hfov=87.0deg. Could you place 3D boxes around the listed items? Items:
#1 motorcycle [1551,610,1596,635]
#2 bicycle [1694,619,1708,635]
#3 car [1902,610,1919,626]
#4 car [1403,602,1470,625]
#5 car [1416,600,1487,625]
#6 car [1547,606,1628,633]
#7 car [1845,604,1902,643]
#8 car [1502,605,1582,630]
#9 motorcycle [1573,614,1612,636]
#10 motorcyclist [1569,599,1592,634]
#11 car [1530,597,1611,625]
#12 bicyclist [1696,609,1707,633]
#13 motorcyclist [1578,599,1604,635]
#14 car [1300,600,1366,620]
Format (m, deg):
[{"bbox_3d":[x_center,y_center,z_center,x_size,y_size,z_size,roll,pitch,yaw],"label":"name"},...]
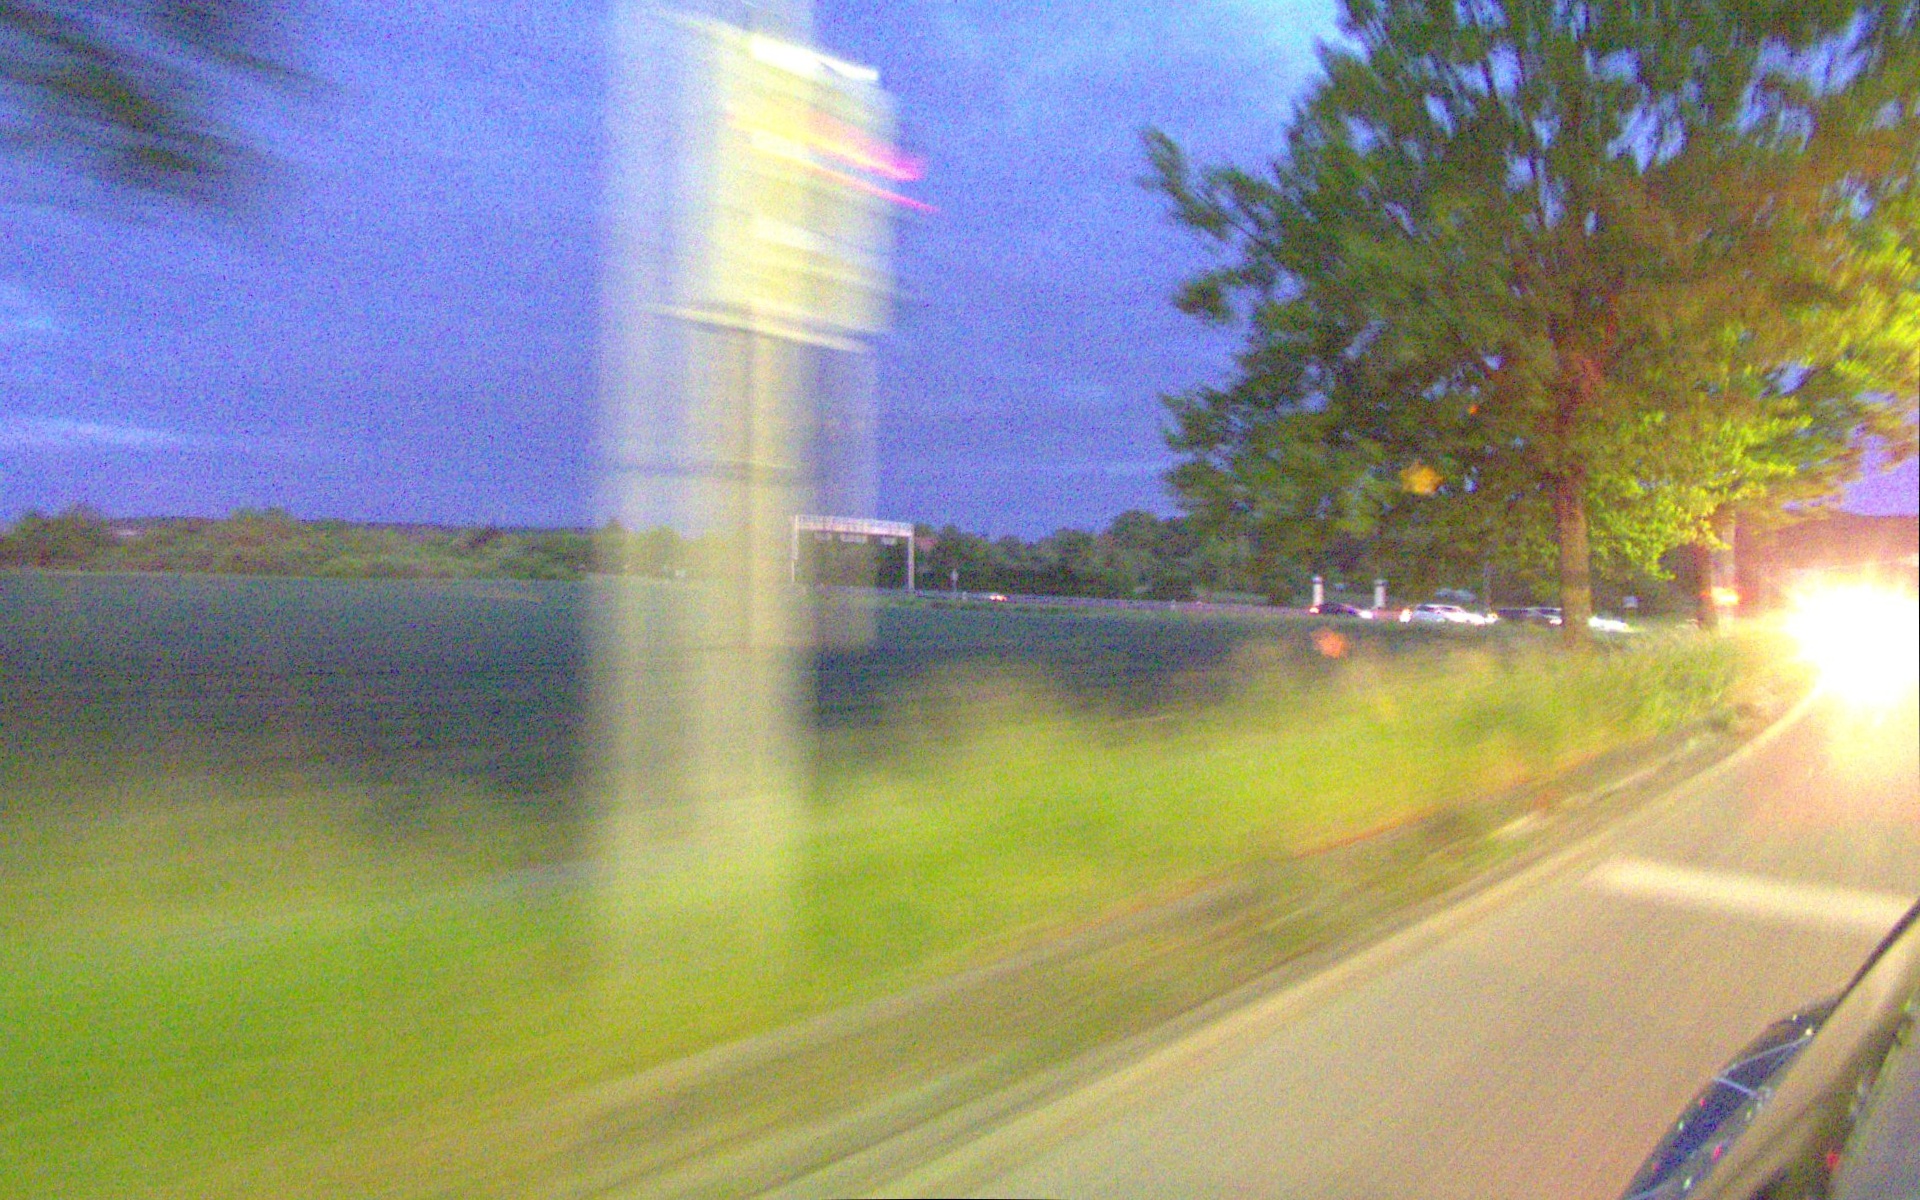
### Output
[{"bbox_3d":[32.638,1.205,53.852,1.792,1.196,0.847,-2,1,11],"label":"motorcycle"},{"bbox_3d":[52.414,1.914,71.587,0.692,1.115,2.037,1,-1,40],"label":"bicycle"},{"bbox_3d":[102.960,1.924,109.170,3.856,1.616,1.696,4,-2,-42],"label":"car"},{"bbox_3d":[34.158,0.964,72.614,1.807,1.544,3.991,2,0,-43],"label":"car"},{"bbox_3d":[36.543,0.940,75.320,1.721,1.647,4.354,3,-1,-43],"label":"car"},{"bbox_3d":[44.491,1.370,71.796,1.826,1.653,4.575,3,-1,-43],"label":"car"},{"bbox_3d":[38.040,0.944,42.206,1.664,1.499,3.721,0,0,40],"label":"car"},{"bbox_3d":[38.867,1.174,67.625,1.755,1.464,4.283,3,-1,-42],"label":"car"},{"bbox_3d":[32.976,1.292,52.795,1.555,1.046,0.719,-3,1,17],"label":"motorcycle"},{"bbox_3d":[32.963,0.865,53.780,0.777,1.781,0.682,-2,1,11],"label":"motorcyclist"},{"bbox_3d":[41.963,0.745,69.621,1.882,1.703,4.411,3,-1,-43],"label":"car"},{"bbox_3d":[52.351,1.457,71.448,0.601,1.672,0.985,1,-2,40],"label":"bicyclist"},{"bbox_3d":[32.945,0.888,52.861,0.858,1.831,0.912,-3,1,16],"label":"motorcyclist"},{"bbox_3d":[28.694,0.765,77.917,1.807,1.407,4.387,2,0,-43],"label":"car"}]
